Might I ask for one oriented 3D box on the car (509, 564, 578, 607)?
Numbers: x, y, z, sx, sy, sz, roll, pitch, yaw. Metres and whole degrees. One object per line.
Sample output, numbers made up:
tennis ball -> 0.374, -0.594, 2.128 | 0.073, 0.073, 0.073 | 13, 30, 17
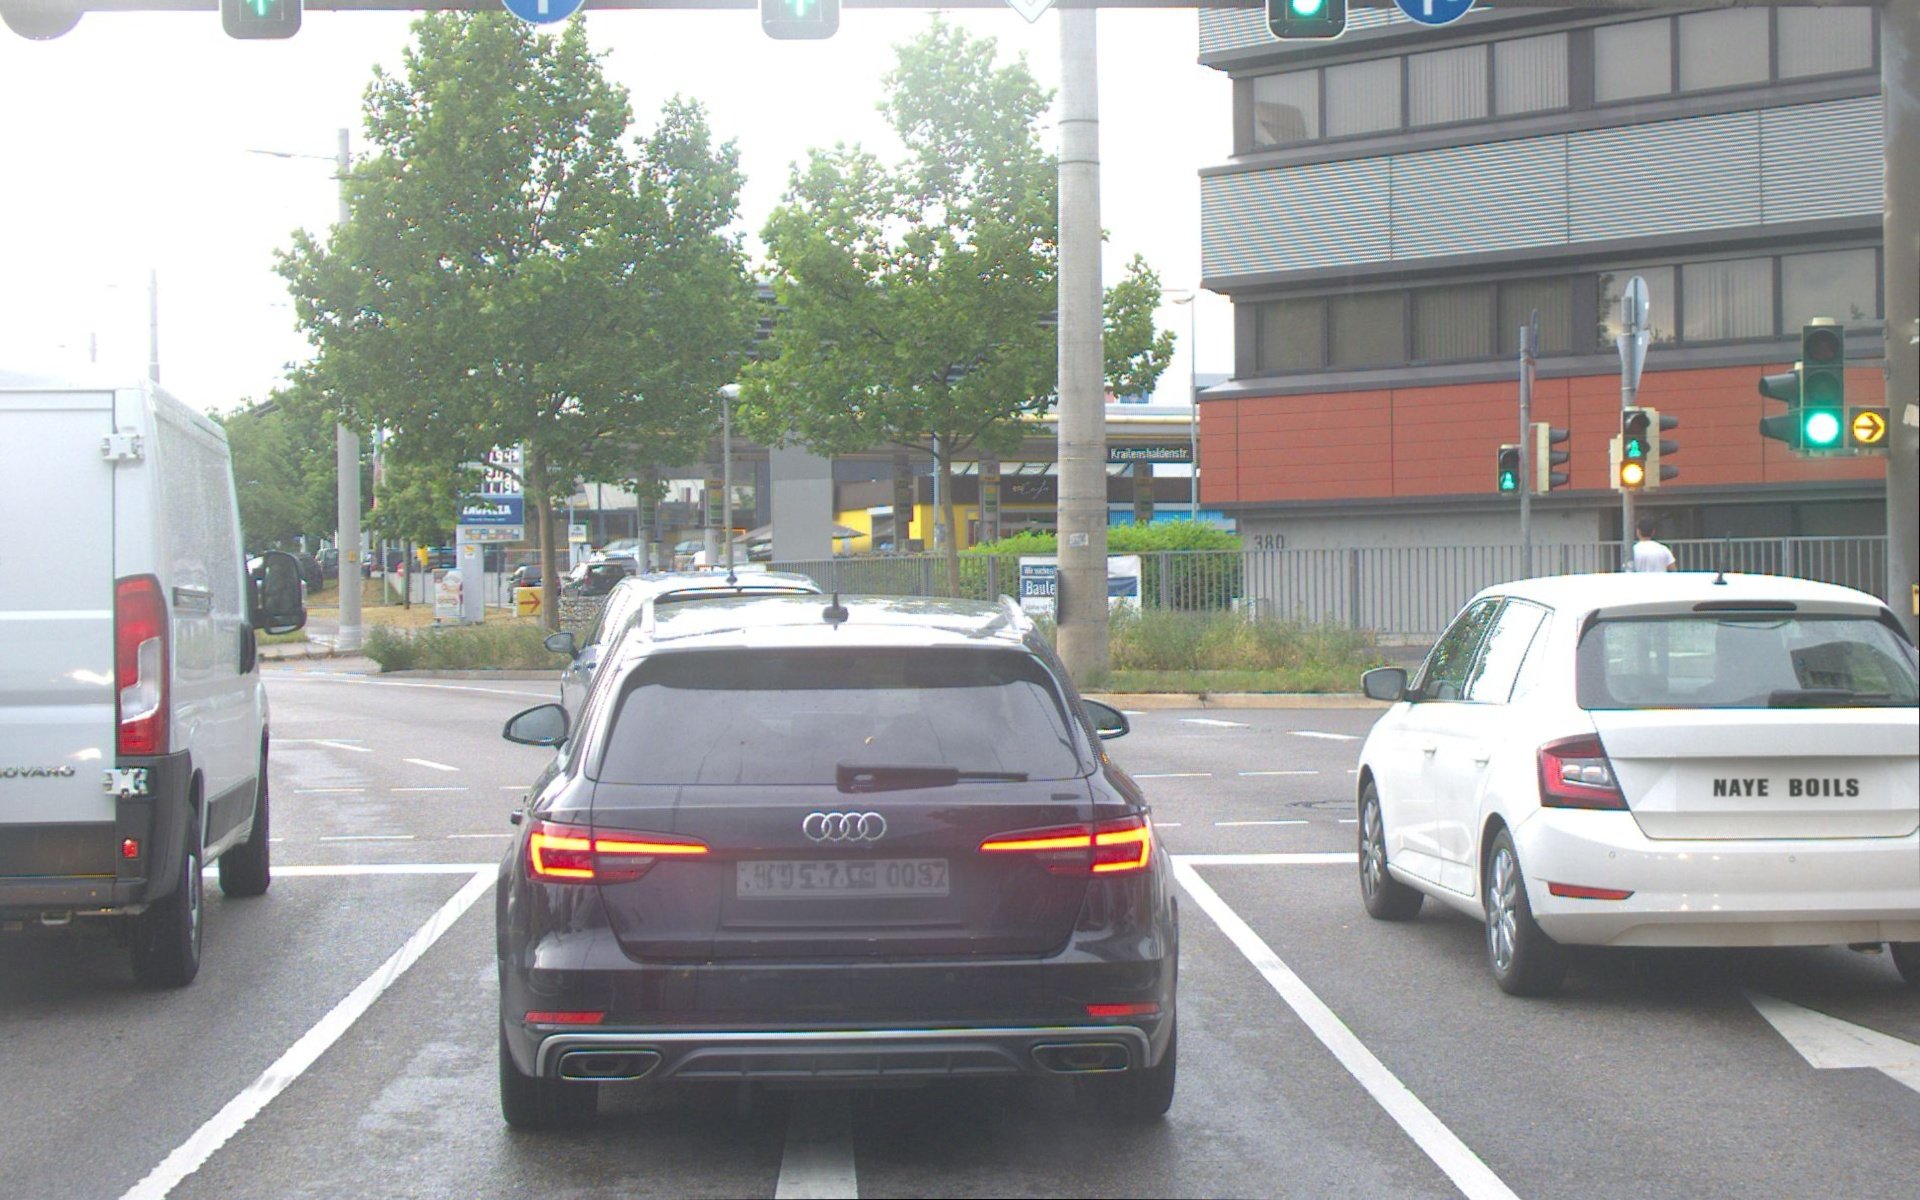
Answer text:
car -> -15.811, -0.558, 130.401 | 1.791, 1.586, 4.001 | -1, 1, -18

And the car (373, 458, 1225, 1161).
car -> -0.399, 0.512, 10.135 | 1.993, 1.632, 4.000 | -1, -1, 0

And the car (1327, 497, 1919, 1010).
car -> 2.639, 0.514, 13.124 | 1.829, 1.650, 4.000 | 0, 0, -3

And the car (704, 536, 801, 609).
car -> -6.008, -0.789, 99.079 | 1.993, 2.025, 4.001 | -1, 1, -15

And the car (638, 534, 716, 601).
car -> -8.904, -1.001, 107.954 | 1.678, 2.007, 3.543 | 2, -1, -16

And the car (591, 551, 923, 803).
car -> -1.387, 0.455, 21.975 | 1.893, 1.460, 3.910 | 0, 0, -7

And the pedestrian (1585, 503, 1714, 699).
pedestrian -> 7.681, -0.007, 38.330 | 1.143, 2.118, 1.222 | -1, 2, -1

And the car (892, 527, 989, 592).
car -> -0.654, -1.305, 111.323 | 1.869, 2.007, 3.775 | 2, -1, -21

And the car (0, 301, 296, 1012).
car -> -4.015, 0.171, 13.460 | 2.444, 2.286, 4.905 | 2, -1, -8
